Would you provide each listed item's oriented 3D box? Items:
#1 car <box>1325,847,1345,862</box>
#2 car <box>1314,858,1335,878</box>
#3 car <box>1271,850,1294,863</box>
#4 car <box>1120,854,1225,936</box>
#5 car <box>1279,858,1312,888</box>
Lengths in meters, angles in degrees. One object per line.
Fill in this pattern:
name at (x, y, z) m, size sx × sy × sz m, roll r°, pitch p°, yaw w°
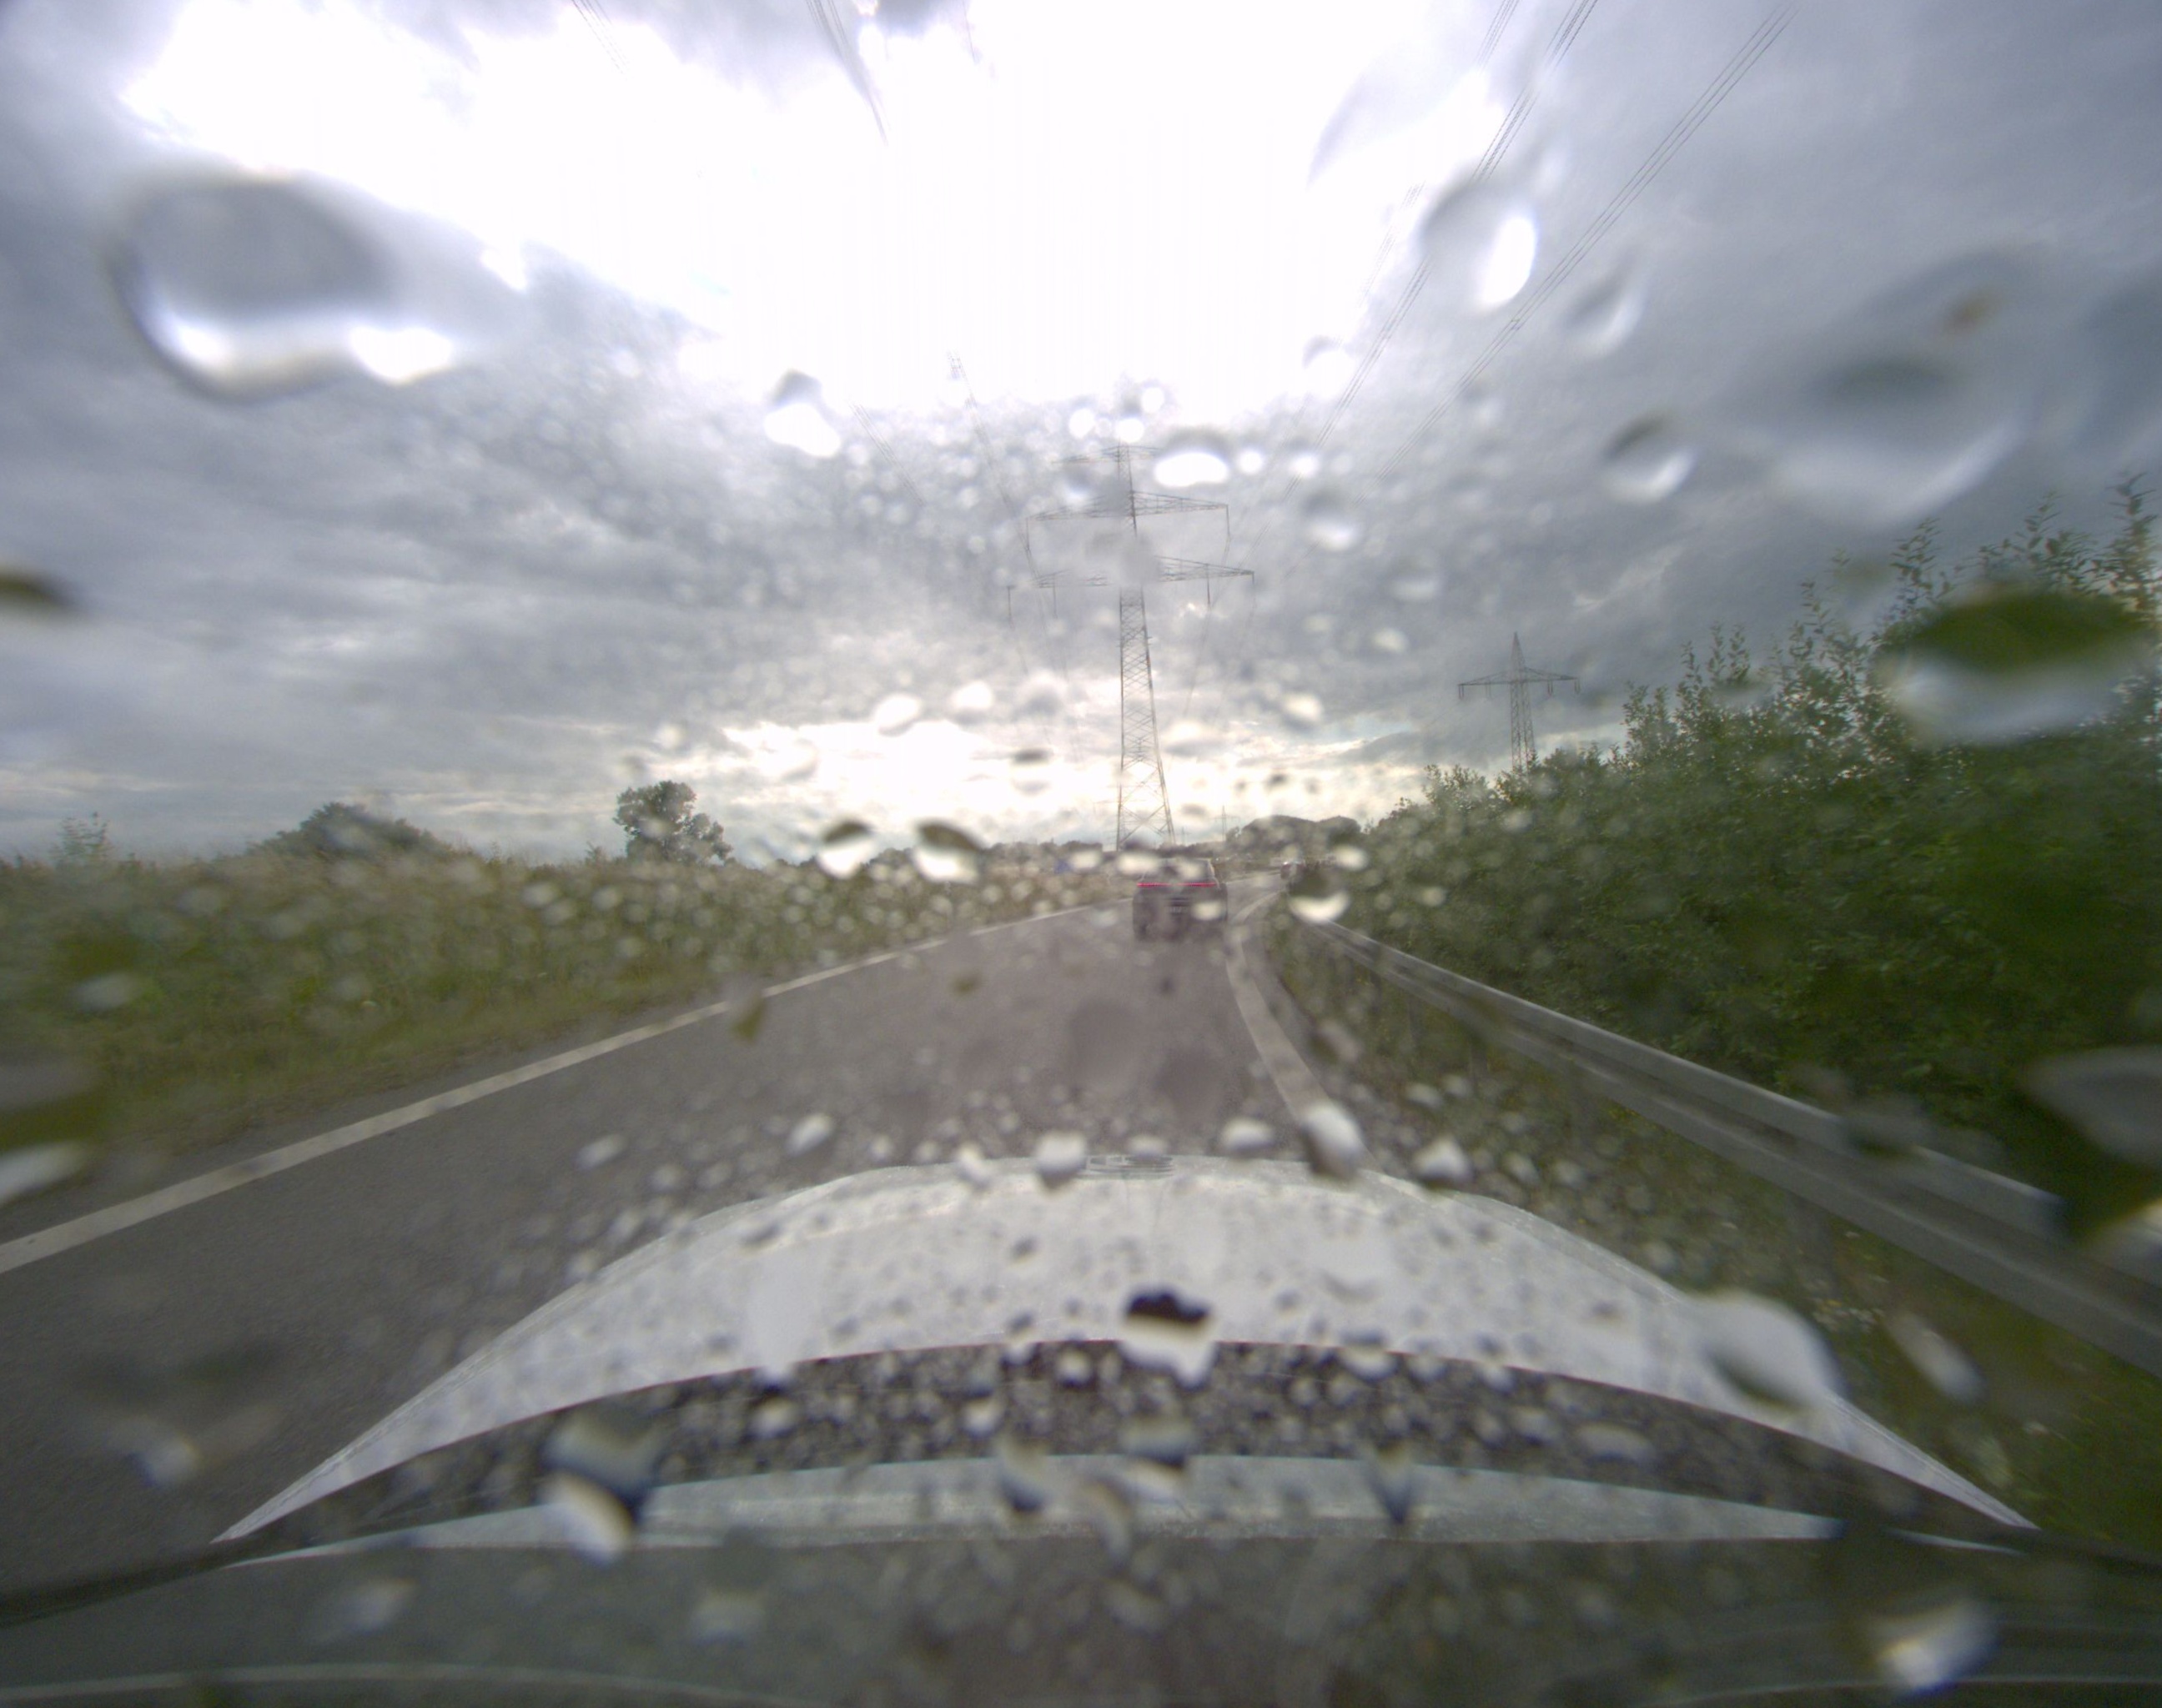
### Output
car at (55.754, 0.071, 178.999) m, size 3.118 × 2.951 × 7.227 m, roll -3°, pitch 1°, yaw 8°
car at (32.289, 1.869, 107.848) m, size 2.332 × 2.306 × 5.154 m, roll -3°, pitch 1°, yaw 19°
car at (60.569, 0.755, 245.013) m, size 3.382 × 3.611 × 9.016 m, roll -3°, pitch -1°, yaw -9°
car at (2.039, 0.780, 17.714) m, size 1.982 × 1.566 × 4.158 m, roll 0°, pitch 0°, yaw 8°
car at (16.289, 1.413, 61.585) m, size 2.104 × 2.018 × 5.558 m, roll -3°, pitch -1°, yaw 17°
